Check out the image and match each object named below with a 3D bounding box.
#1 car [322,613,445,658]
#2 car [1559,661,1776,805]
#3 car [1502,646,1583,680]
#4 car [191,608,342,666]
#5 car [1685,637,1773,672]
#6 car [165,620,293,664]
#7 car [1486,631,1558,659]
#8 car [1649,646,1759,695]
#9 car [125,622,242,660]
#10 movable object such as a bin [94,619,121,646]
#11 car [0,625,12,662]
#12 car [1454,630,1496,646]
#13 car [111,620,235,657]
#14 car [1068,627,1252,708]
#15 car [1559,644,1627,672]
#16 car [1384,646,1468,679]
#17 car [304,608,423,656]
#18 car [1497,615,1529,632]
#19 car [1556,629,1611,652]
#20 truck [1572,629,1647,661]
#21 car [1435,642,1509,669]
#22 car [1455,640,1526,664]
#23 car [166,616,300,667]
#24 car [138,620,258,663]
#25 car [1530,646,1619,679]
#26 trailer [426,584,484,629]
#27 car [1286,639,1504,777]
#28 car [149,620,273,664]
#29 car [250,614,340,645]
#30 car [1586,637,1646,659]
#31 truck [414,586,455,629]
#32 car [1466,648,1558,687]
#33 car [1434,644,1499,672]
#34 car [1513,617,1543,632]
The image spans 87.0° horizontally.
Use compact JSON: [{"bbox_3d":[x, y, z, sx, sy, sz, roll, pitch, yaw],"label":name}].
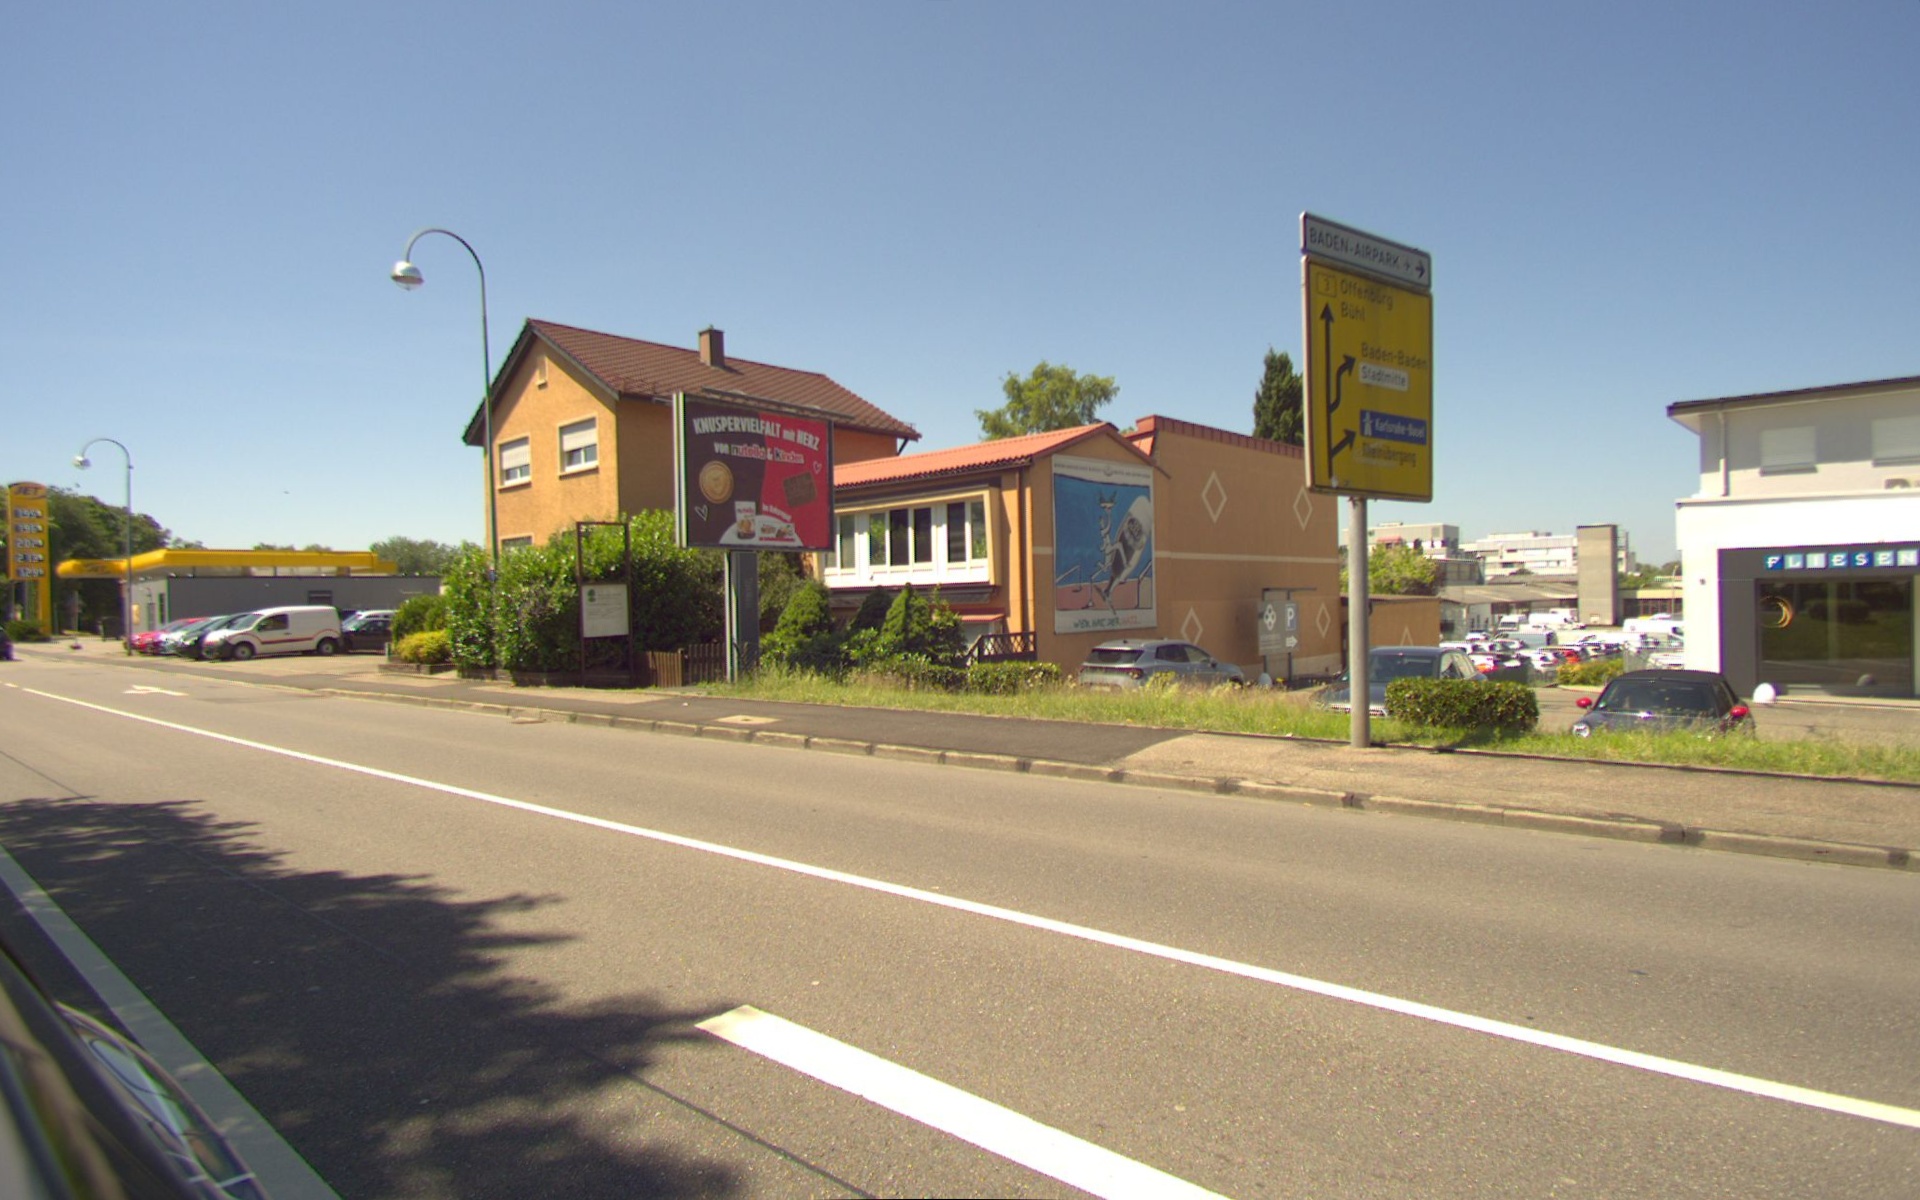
[{"bbox_3d":[-23.412,1.413,41.204,1.828,1.580,3.948,-2,0,39],"label":"car"},{"bbox_3d":[9.316,1.614,13.242,1.781,1.434,3.299,-2,-1,45],"label":"car"},{"bbox_3d":[30.964,3.313,53.841,3.466,1.604,1.702,-1,0,41],"label":"car"},{"bbox_3d":[-24.811,1.267,36.321,1.996,1.912,4.057,-1,0,36],"label":"car"},{"bbox_3d":[43.079,3.034,56.726,3.812,1.806,1.756,-2,-1,41],"label":"car"},{"bbox_3d":[-28.186,1.572,39.080,1.920,1.543,3.628,-1,0,38],"label":"car"},{"bbox_3d":[39.194,3.100,70.617,3.998,1.829,1.973,-2,-1,41],"label":"car"},{"bbox_3d":[33.181,3.117,45.169,3.726,1.954,1.881,-1,-1,-11],"label":"car"},{"bbox_3d":[-33.298,1.722,43.460,1.890,1.468,3.628,-1,0,38],"label":"car"},{"bbox_3d":[-51.737,1.980,61.442,1.427,1.528,0.942,-3,3,42],"label":"movable object such as a bin"},{"bbox_3d":[-41.348,1.871,42.546,4.274,1.506,1.692,-2,-1,40],"label":"car"},{"bbox_3d":[47.528,3.496,93.452,3.125,1.395,1.663,-1,0,41],"label":"car"},{"bbox_3d":[-35.053,1.680,45.148,1.825,1.455,4.084,-1,0,40],"label":"car"},{"bbox_3d":[4.246,1.338,21.178,3.979,1.462,1.781,0,-1,-43],"label":"car"},{"bbox_3d":[38.202,3.481,61.130,3.307,1.476,1.486,-1,0,41],"label":"car"},{"bbox_3d":[26.248,3.477,57.047,3.998,1.665,1.725,-1,0,41],"label":"car"},{"bbox_3d":[-25.053,1.306,42.574,1.998,1.875,3.864,-2,-1,39],"label":"car"},{"bbox_3d":[64.077,2.720,117.224,3.939,1.843,2.002,-1,0,-42],"label":"car"},{"bbox_3d":[45.215,2.917,73.398,3.125,1.545,1.663,-1,0,41],"label":"car"},{"bbox_3d":[43.001,2.951,67.013,3.982,1.992,1.663,-1,0,41],"label":"truck"},{"bbox_3d":[33.456,3.622,66.117,3.998,1.617,1.812,-1,-1,41],"label":"car"},{"bbox_3d":[36.406,3.540,69.482,3.998,1.486,1.733,-1,0,41],"label":"car"},{"bbox_3d":[-26.731,1.477,37.287,1.920,1.685,3.628,-1,0,38],"label":"car"},{"bbox_3d":[-31.467,1.677,41.853,1.879,1.617,3.628,-1,0,38],"label":"car"},{"bbox_3d":[34.381,3.449,56.626,3.998,1.648,1.824,-1,-1,41],"label":"car"},{"bbox_3d":[-38.596,0.505,77.273,5.911,3.244,1.845,-2,-1,42],"label":"trailer"},{"bbox_3d":[7.035,1.571,16.128,1.895,1.699,4.285,-1,0,42],"label":"car"},{"bbox_3d":[-29.833,1.625,40.391,1.920,1.593,3.628,-1,0,38],"label":"car"},{"bbox_3d":[-37.387,1.652,56.944,1.754,1.596,3.944,-1,0,43],"label":"car"},{"bbox_3d":[41.774,3.054,64.495,3.042,1.309,1.288,-1,0,41],"label":"car"},{"bbox_3d":[-41.477,0.587,79.839,3.188,3.267,1.826,-3,-1,41],"label":"truck"},{"bbox_3d":[27.852,3.385,51.120,3.816,1.740,1.729,-1,0,41],"label":"car"},{"bbox_3d":[31.210,3.528,62.378,3.320,1.558,1.509,-1,0,41],"label":"car"},{"bbox_3d":[62.469,2.671,111.332,2.000,1.608,3.943,-1,-1,43],"label":"car"}]
